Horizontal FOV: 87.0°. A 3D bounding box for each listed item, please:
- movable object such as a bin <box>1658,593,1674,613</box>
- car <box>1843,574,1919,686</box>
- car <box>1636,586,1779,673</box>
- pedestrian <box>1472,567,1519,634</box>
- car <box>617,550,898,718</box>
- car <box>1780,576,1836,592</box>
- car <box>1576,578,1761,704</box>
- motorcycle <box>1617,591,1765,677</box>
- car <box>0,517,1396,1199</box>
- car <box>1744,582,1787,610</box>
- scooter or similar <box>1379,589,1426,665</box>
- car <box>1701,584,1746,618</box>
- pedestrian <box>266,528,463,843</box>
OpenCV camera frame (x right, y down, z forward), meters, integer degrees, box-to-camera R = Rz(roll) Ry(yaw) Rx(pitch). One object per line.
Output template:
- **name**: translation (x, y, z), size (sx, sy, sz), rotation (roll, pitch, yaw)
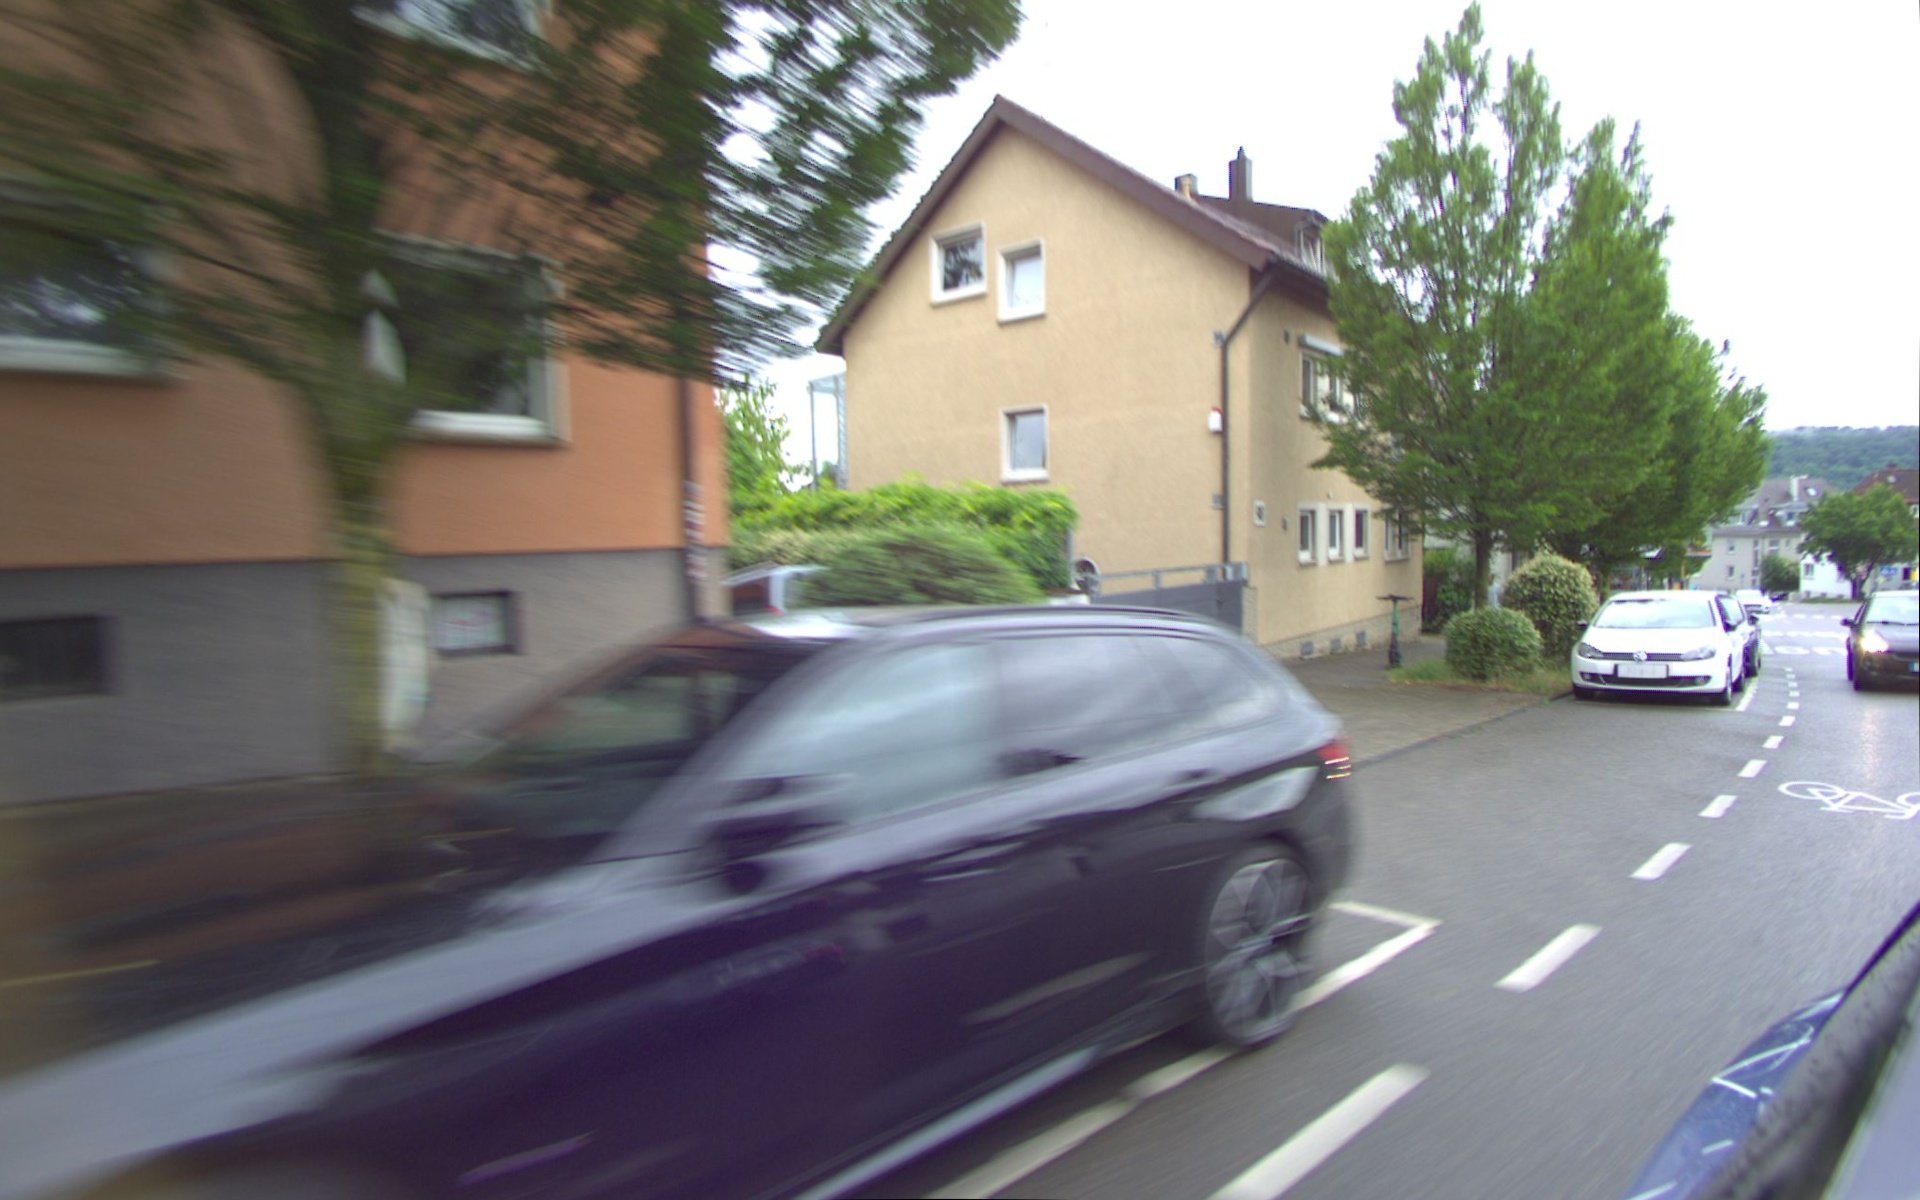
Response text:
- **movable object such as a bin**: translation (35.595, 0.149, 51.041), size (0.486, 0.986, 0.595), rotation (6, 5, 44)
- **car**: translation (14.750, 0.405, 15.279), size (3.991, 1.549, 1.889), rotation (0, 1, -45)
- **car**: translation (14.160, 0.466, 19.068), size (1.876, 1.434, 4.402), rotation (0, 1, 41)
- **pedestrian**: translation (14.273, -0.009, 26.982), size (0.832, 1.706, 1.030), rotation (4, 3, 40)
- **car**: translation (-2.910, 0.532, 13.929), size (1.871, 1.831, 3.988), rotation (-3, -4, -43)
- **car**: translation (90.492, -1.730, 108.048), size (4.164, 1.694, 1.868), rotation (0, 1, 17)
- **car**: translation (10.021, 0.478, 14.201), size (1.655, 1.508, 3.939), rotation (-1, 0, 42)
- **motorcycle**: translation (12.008, 0.537, 16.681), size (1.908, 1.347, 0.777), rotation (-1, -1, 37)
- **car**: translation (-0.676, 0.664, 2.947), size (4.777, 1.601, 1.856), rotation (-1, 1, -44)
- **car**: translation (56.761, -0.328, 71.399), size (2.003, 1.927, 4.045), rotation (0, 1, 34)
- **scooter or similar**: translation (7.698, 0.444, 17.585), size (0.413, 1.260, 1.157), rotation (1, 1, 41)
- **car**: translation (38.620, 0.018, 51.243), size (1.724, 1.628, 4.065), rotation (-1, 0, 36)
- **pedestrian**: translation (-3.641, 0.455, 6.186), size (0.887, 1.741, 0.761), rotation (0, 3, -43)
